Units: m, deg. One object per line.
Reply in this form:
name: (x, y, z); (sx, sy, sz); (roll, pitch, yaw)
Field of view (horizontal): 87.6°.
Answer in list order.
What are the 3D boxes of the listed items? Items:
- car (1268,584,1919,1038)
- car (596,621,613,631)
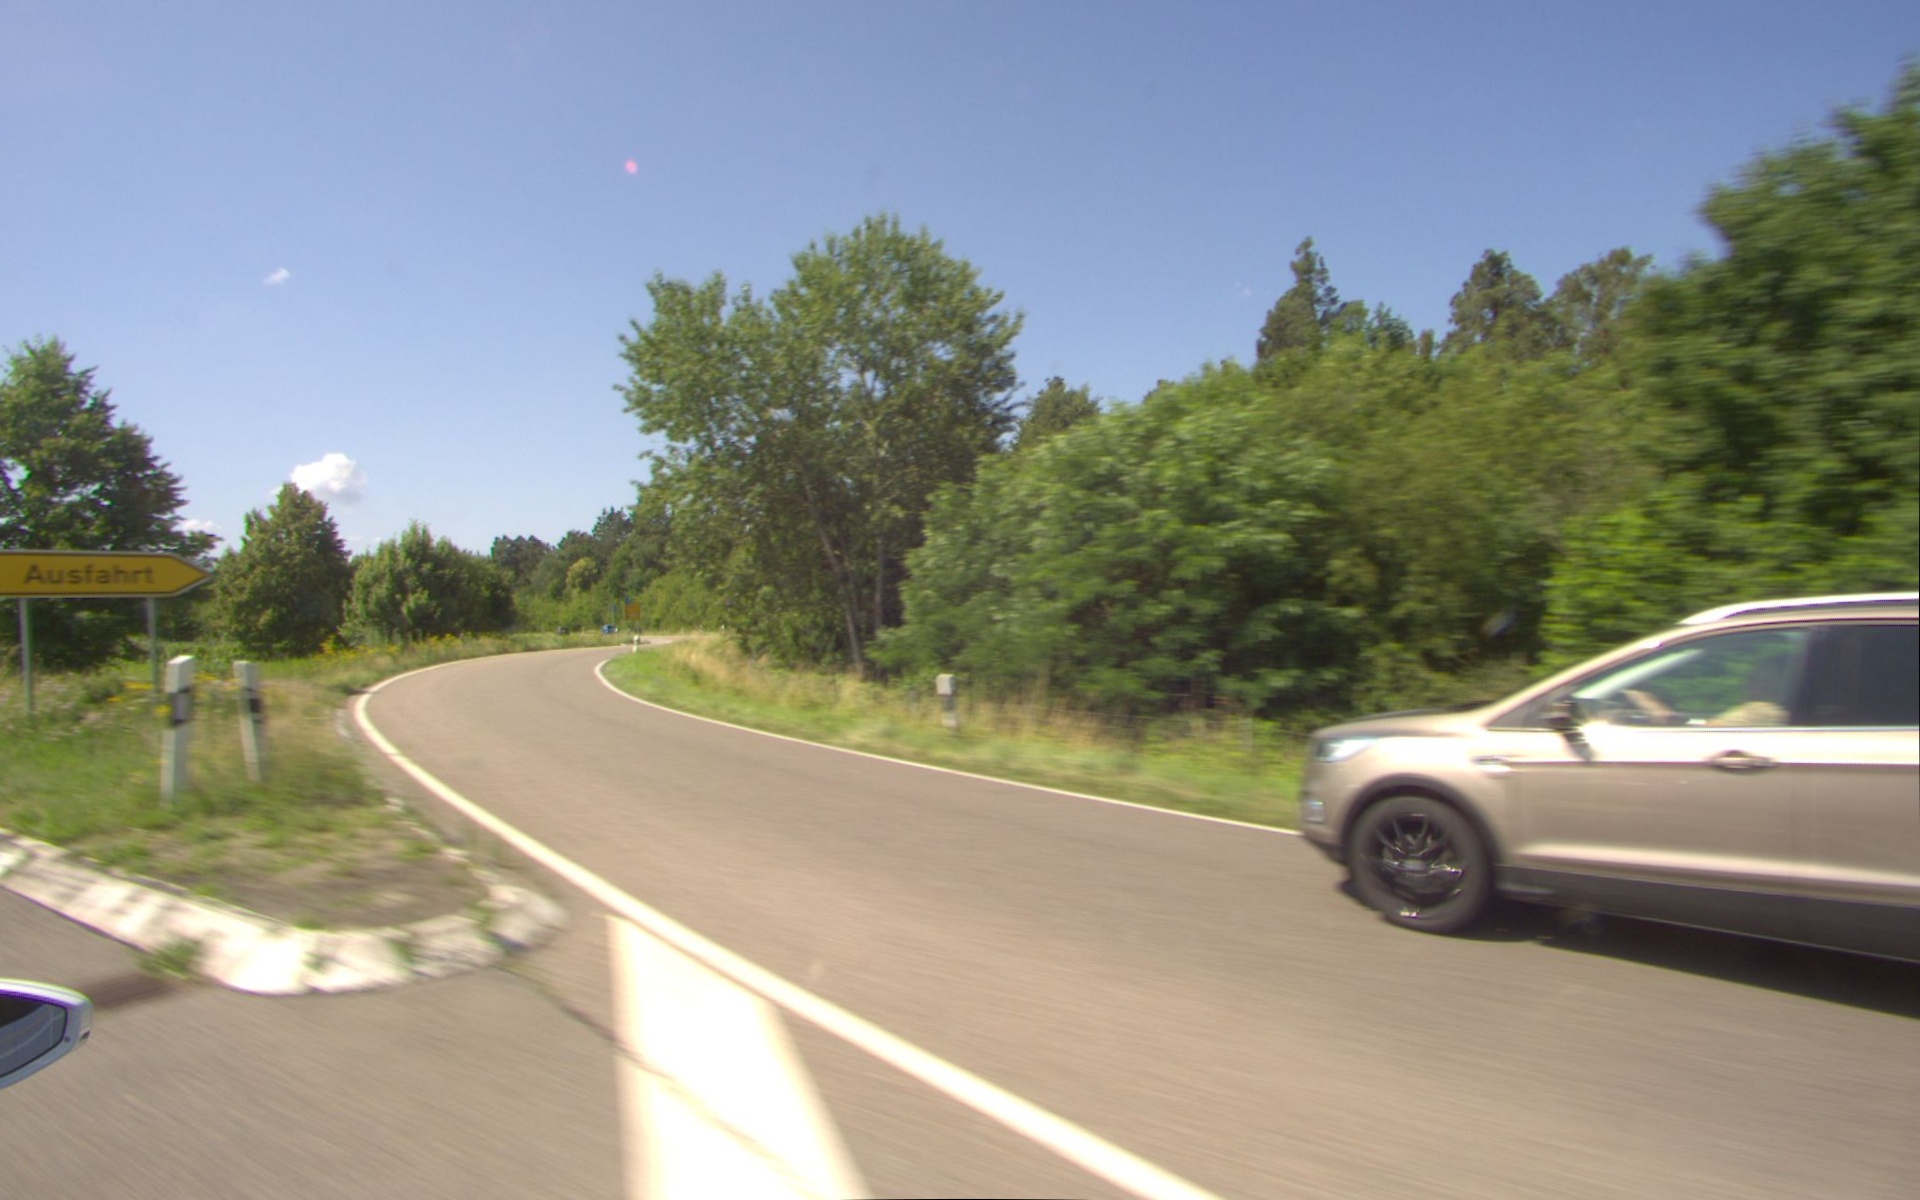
car: (4.014, 0.836, 4.634); (4.617, 1.687, 1.884); (-1, -3, 44)
car: (-49.517, 3.585, 139.450); (1.482, 1.371, 3.178); (1, -2, -36)
